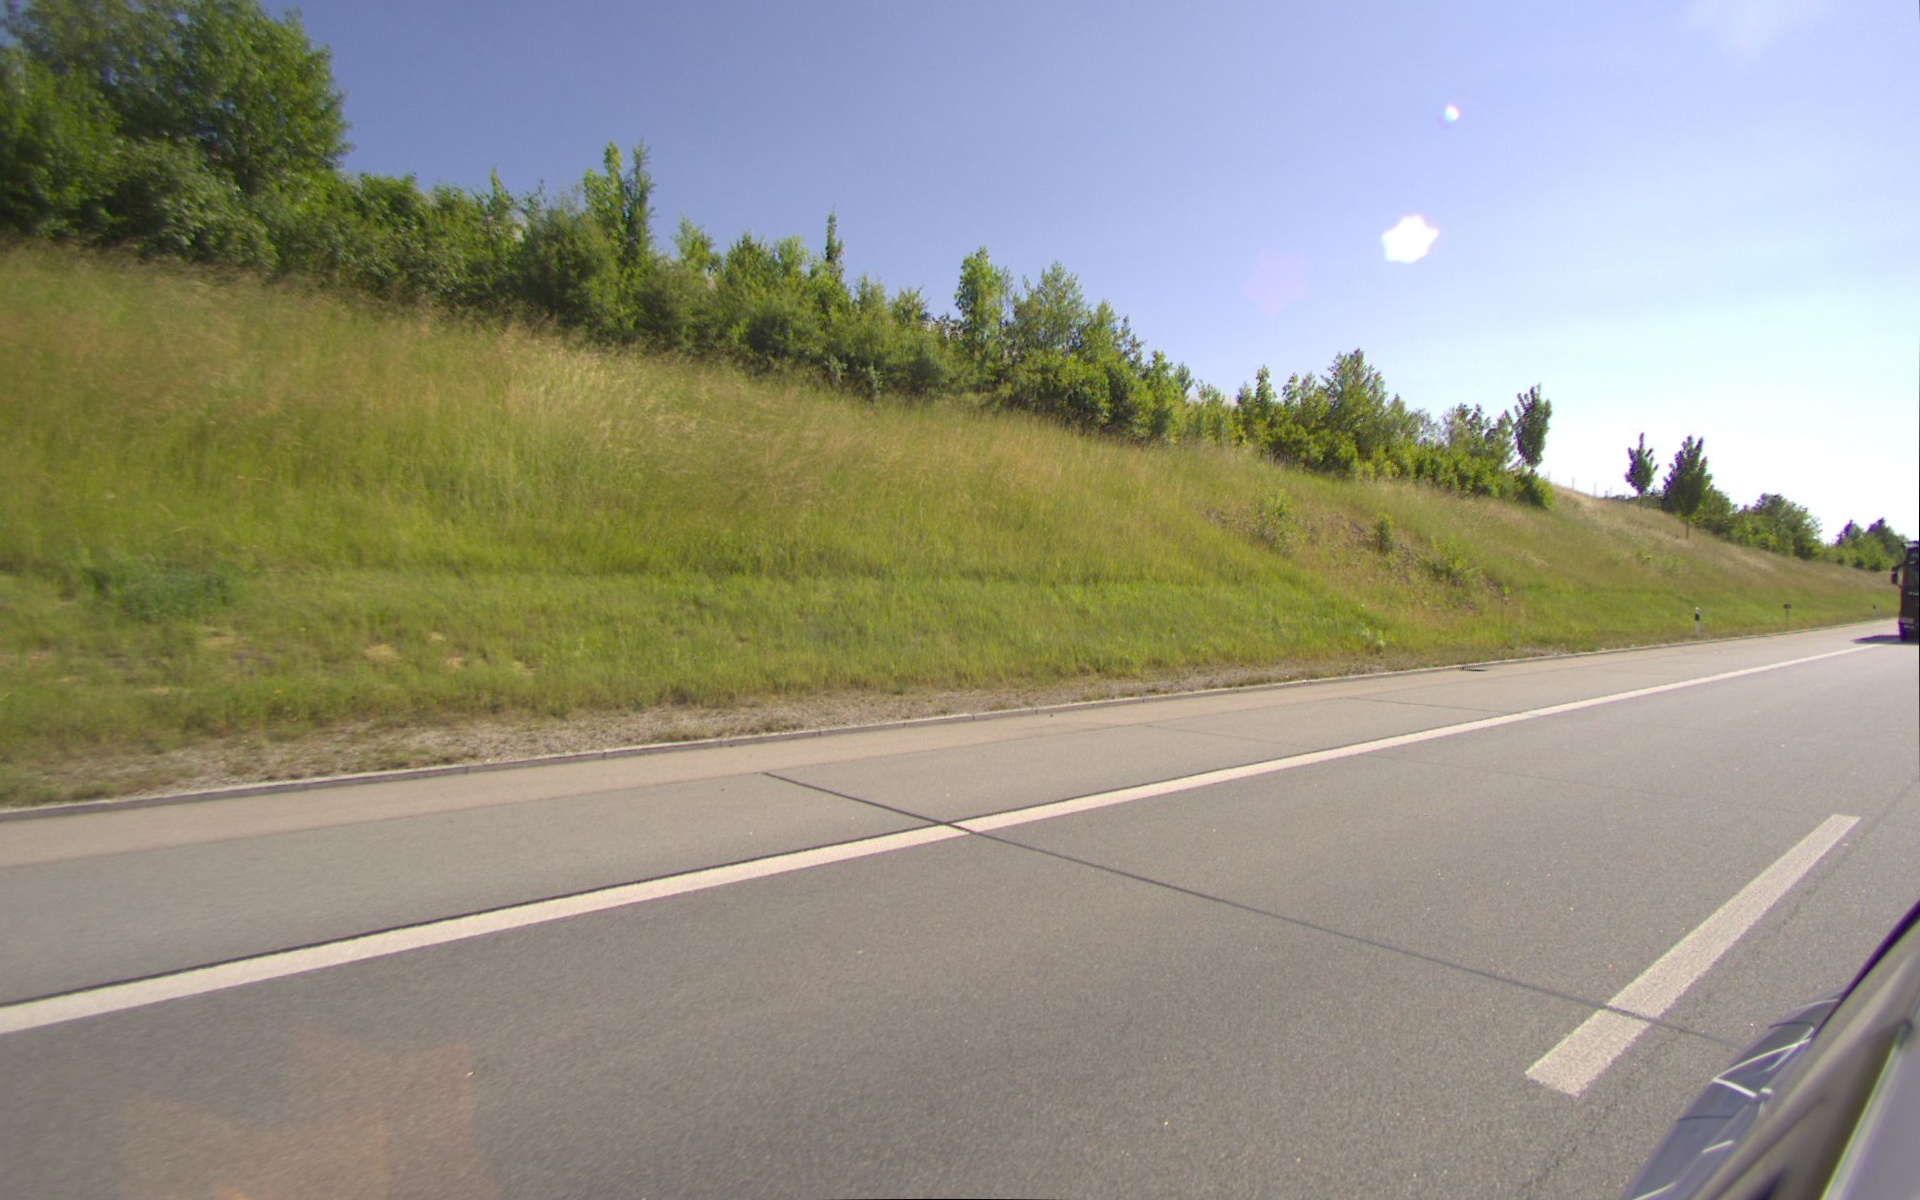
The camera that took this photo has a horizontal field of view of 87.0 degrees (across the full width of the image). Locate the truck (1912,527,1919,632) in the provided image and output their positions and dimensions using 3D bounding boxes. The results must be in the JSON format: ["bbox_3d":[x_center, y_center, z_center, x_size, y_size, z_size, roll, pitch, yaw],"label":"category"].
[{"bbox_3d":[41.129,-0.741,40.693,13.164,3.866,2.622,0,0,-40],"label":"truck"}]
